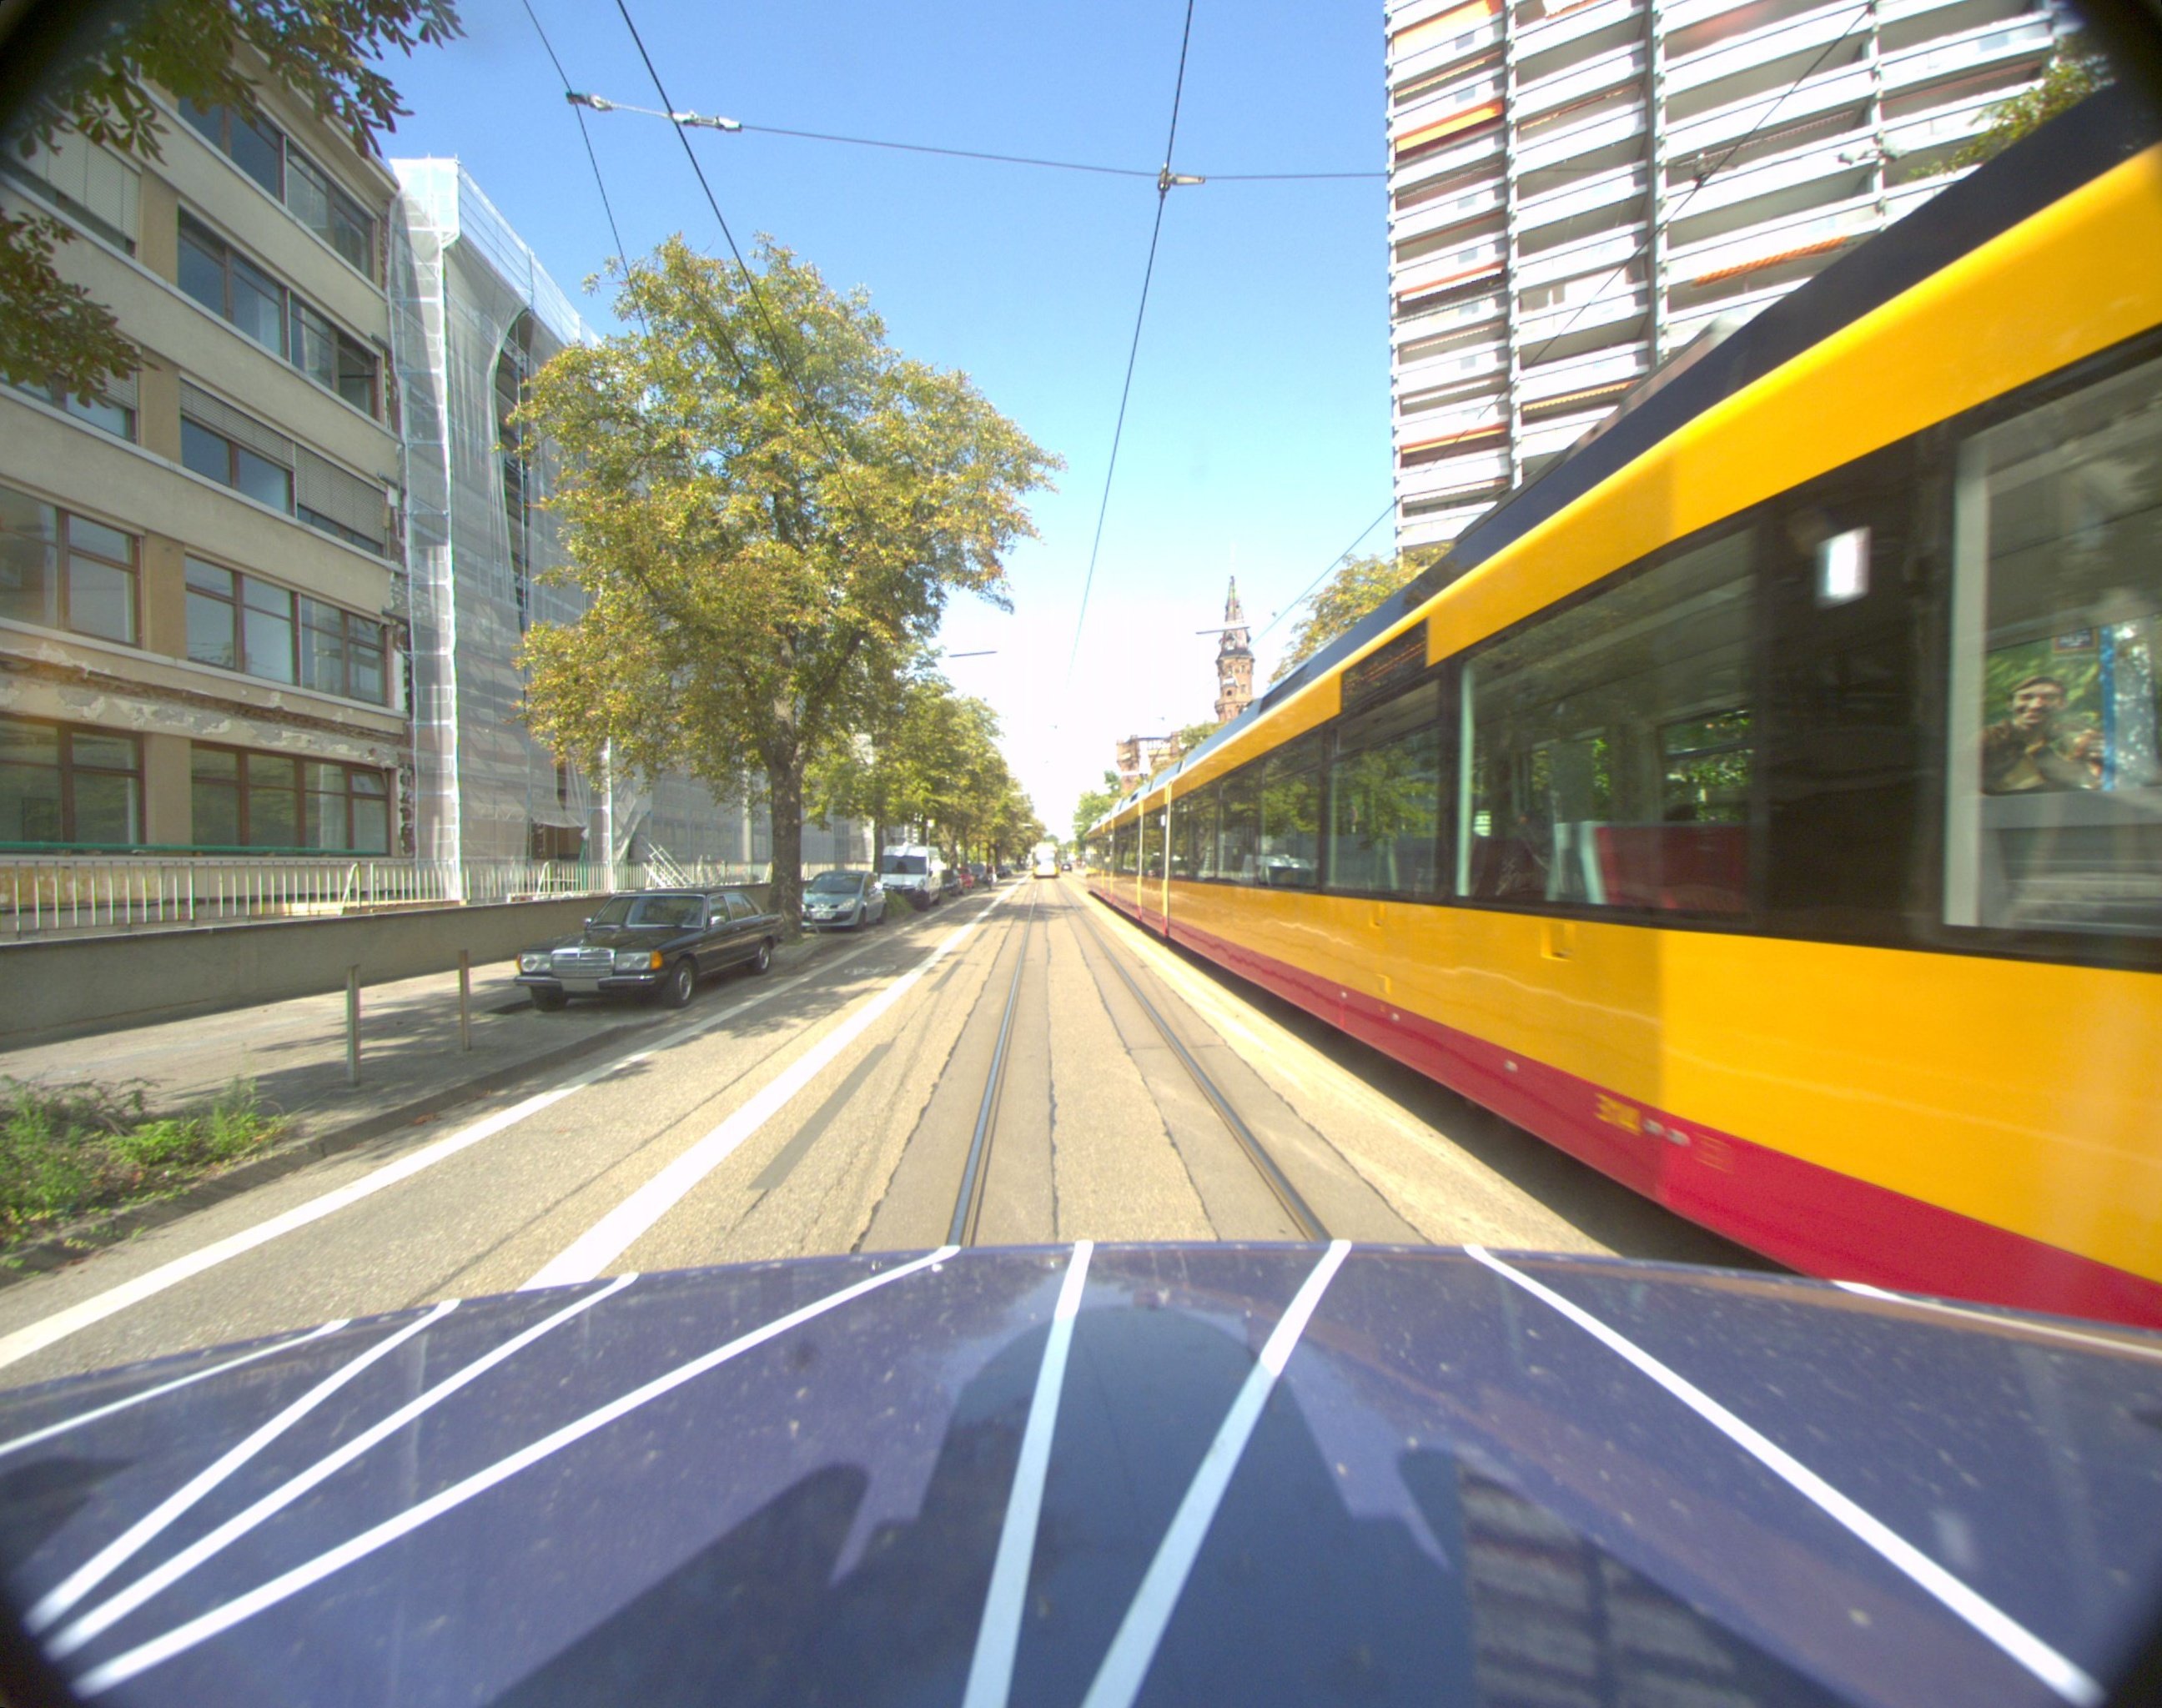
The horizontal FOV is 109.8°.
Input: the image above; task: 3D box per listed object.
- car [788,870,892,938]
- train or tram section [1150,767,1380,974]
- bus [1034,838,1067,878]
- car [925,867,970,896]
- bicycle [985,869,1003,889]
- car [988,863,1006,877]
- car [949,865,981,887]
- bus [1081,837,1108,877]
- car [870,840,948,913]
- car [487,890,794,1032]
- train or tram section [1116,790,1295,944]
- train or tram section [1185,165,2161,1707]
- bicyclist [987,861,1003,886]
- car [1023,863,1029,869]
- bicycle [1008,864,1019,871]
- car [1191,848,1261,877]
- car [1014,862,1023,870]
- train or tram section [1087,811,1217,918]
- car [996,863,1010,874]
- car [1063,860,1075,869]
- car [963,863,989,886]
[{"bbox_3d":[-6.315,1.258,20.333,1.669,1.607,3.876,0,-1,-2],"label":"car"},{"bbox_3d":[2.745,0.228,12.440,2.713,2.840,3.648,-1,0,-3],"label":"train or tram section"},{"bbox_3d":[-3.011,0.447,77.624,2.901,3.771,9.318,-1,0,0],"label":"bus"},{"bbox_3d":[-6.987,1.420,40.149,1.621,1.366,4.826,-1,0,-2],"label":"car"},{"bbox_3d":[-5.215,1.502,45.724,0.789,1.138,2.305,-1,0,-1],"label":"bicycle"},{"bbox_3d":[-9.242,1.763,83.765,1.650,1.502,3.777,0,0,-2],"label":"car"},{"bbox_3d":[-7.685,1.427,50.536,1.621,1.405,3.999,-1,0,-2],"label":"car"},{"bbox_3d":[1.299,0.340,77.170,2.476,3.767,9.129,-1,0,-1],"label":"bus"},{"bbox_3d":[-6.614,0.836,29.870,2.088,2.537,5.499,2,0,-4],"label":"car"},{"bbox_3d":[-5.748,1.290,10.751,1.758,1.369,4.718,0,0,-2],"label":"car"},{"bbox_3d":[2.503,0.254,17.570,2.736,2.832,6.541,-1,0,-3],"label":"train or tram section"},{"bbox_3d":[3.063,0.210,5.269,2.688,2.845,10.541,-1,0,-3],"label":"train or tram section"},{"bbox_3d":[-5.235,1.179,46.213,0.789,1.461,1.116,-1,0,-1],"label":"bicyclist"},{"bbox_3d":[-13.440,2.878,185.301,1.567,1.433,3.562,1,0,-5],"label":"car"},{"bbox_3d":[-11.330,2.232,126.912,1.774,1.057,0.796,0,0,-5],"label":"bicycle"},{"bbox_3d":[8.888,0.532,46.619,4.006,1.470,1.785,-4,0,-32],"label":"car"},{"bbox_3d":[-11.869,2.235,144.805,1.746,1.477,4.436,0,-1,-4],"label":"car"},{"bbox_3d":[2.014,0.320,28.589,2.736,2.877,15.451,-1,0,-3],"label":"train or tram section"},{"bbox_3d":[-9.817,1.829,96.026,1.651,1.420,4.084,0,0,-4],"label":"car"},{"bbox_3d":[-1.941,1.666,122.675,1.833,1.368,4.511,-1,0,-3],"label":"car"},{"bbox_3d":[-8.350,1.622,60.852,1.758,1.681,4.395,-2,-1,-4],"label":"car"}]
